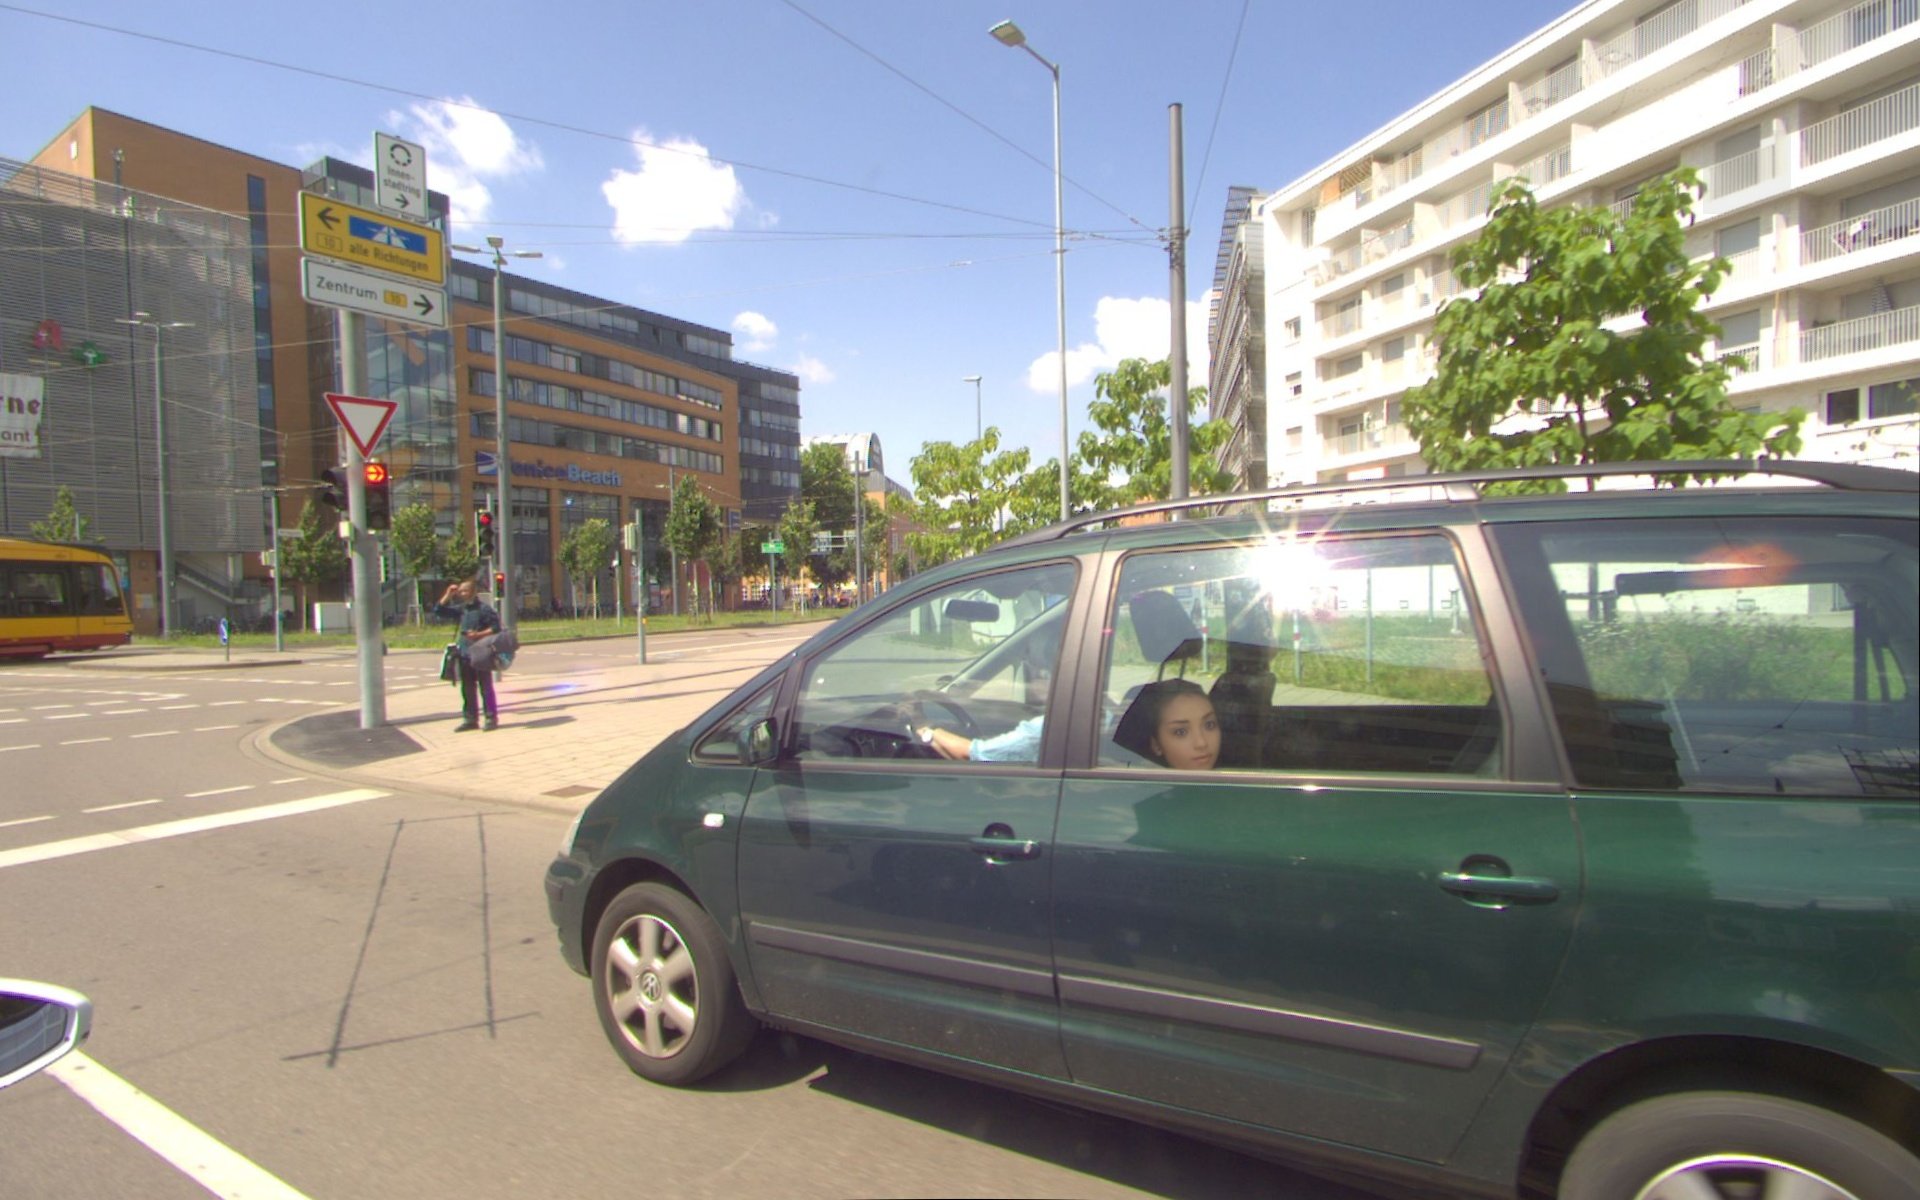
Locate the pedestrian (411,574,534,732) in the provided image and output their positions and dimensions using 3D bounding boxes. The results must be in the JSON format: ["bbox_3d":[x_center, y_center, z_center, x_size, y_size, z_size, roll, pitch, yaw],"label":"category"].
[{"bbox_3d":[-5.526,0.581,11.406,0.901,1.726,0.808,-2,2,5],"label":"pedestrian"}]

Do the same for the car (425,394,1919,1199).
[{"bbox_3d":[0.608,0.593,3.160,4.958,1.779,1.815,-1,0,32],"label":"car"}]

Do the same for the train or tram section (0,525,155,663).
[{"bbox_3d":[-27.234,-0.169,25.070,3.006,3.669,12.634,0,0,6],"label":"train or tram section"}]

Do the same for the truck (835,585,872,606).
[{"bbox_3d":[-10.788,-0.407,102.035,1.963,2.113,5.518,0,0,14],"label":"truck"}]
